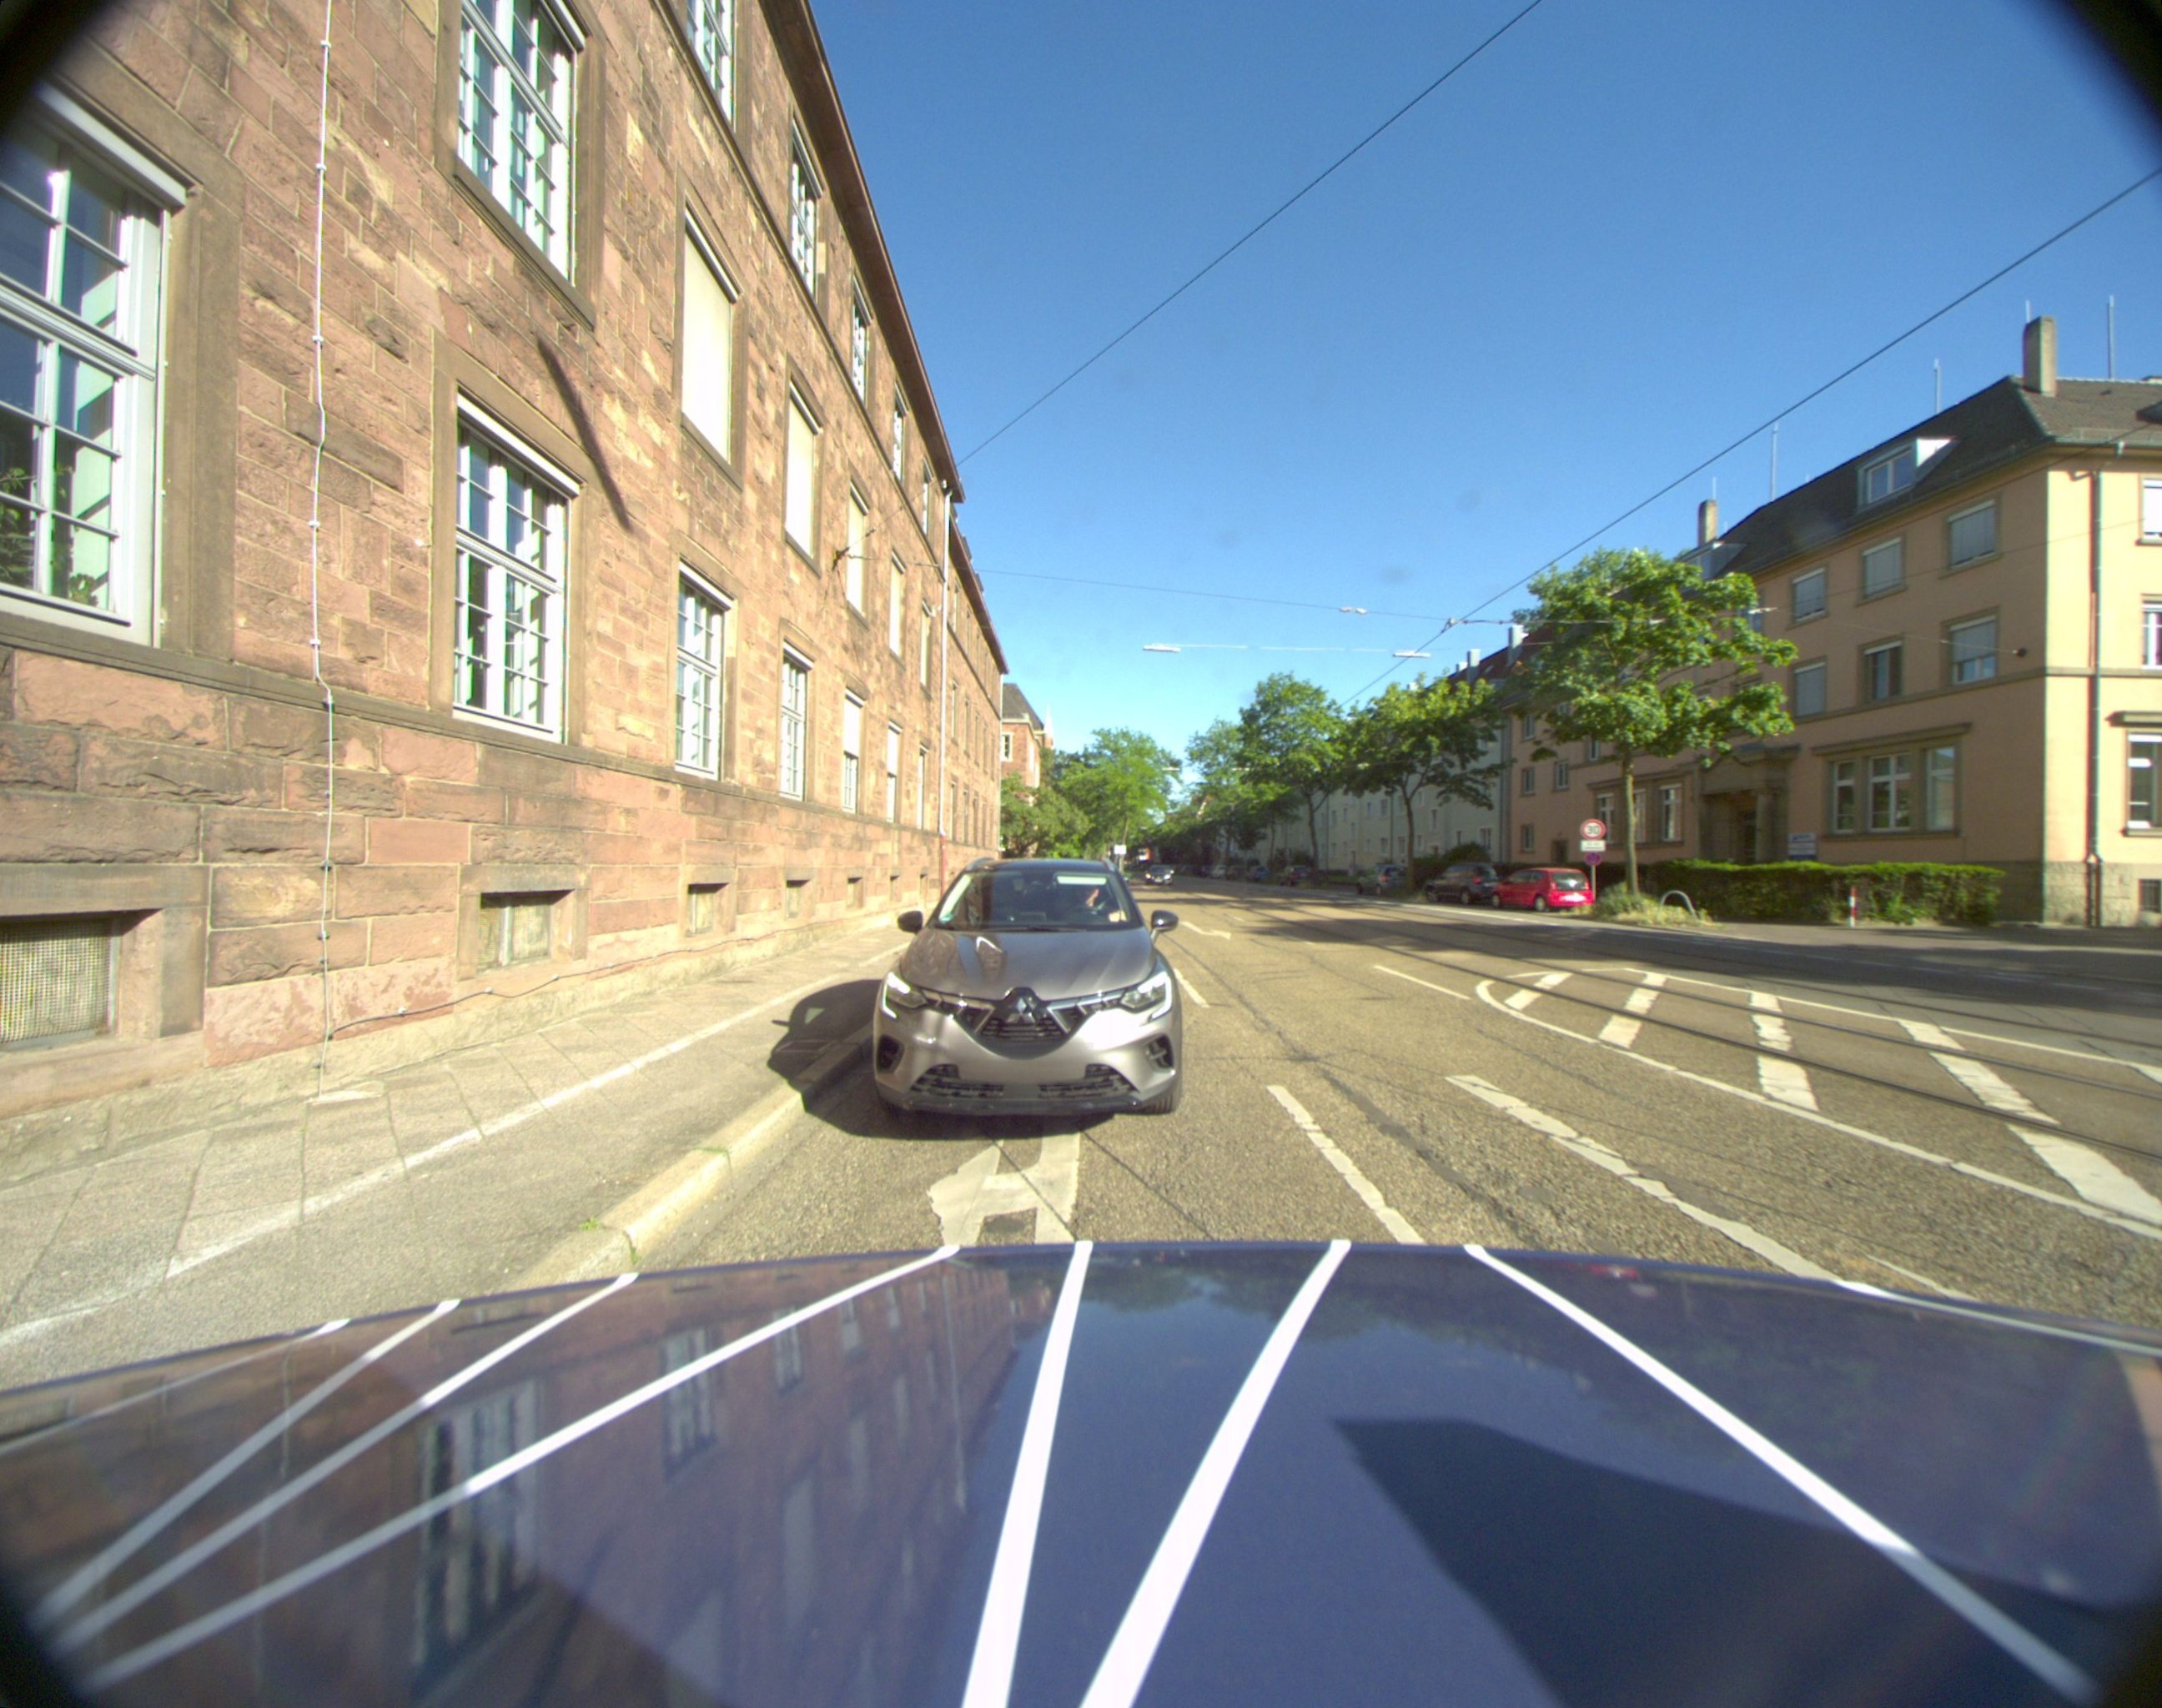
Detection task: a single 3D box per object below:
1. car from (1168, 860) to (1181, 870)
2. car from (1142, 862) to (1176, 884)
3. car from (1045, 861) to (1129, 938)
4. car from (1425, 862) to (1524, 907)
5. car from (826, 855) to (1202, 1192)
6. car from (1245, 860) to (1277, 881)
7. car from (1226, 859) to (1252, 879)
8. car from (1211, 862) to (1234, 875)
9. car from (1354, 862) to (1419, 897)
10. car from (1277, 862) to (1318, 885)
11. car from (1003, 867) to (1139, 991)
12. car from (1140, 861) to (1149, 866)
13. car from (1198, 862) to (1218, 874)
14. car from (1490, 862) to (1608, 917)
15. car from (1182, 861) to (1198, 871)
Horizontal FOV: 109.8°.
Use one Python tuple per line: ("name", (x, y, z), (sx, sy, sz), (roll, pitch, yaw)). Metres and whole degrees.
("car", (16.594, 1.884, 135.247), (1.816, 1.768, 3.630), (1, 0, -2))
("car", (5.611, 1.343, 55.115), (1.912, 1.510, 4.000), (1, 0, -1))
("car", (0.072, 1.009, 18.500), (1.796, 1.638, 4.083), (-1, 0, -2))
("car", (15.650, 1.155, 30.470), (1.816, 1.648, 3.819), (1, 0, -3))
("car", (-0.365, 0.825, 5.562), (1.796, 1.595, 3.799), (-1, 0, -2))
("car", (15.974, 1.443, 67.503), (1.816, 1.814, 3.795), (1, 0, -2))
("car", (15.904, 1.497, 76.580), (1.816, 1.929, 3.630), (1, 0, -2))
("car", (16.033, 1.631, 85.939), (1.816, 1.411, 3.630), (1, 0, -2))
("car", (15.733, 1.283, 39.366), (1.816, 1.648, 3.877), (1, 0, 1))
("car", (15.792, 1.404, 55.610), (1.816, 1.589, 3.630), (1, 0, -2))
("car", (-0.181, 1.029, 12.053), (1.796, 1.595, 3.799), (-1, 0, -2))
("car", (16.075, 2.403, 191.347), (1.816, 1.411, 3.630), (1, 0, -2))
("car", (15.849, 1.716, 94.866), (1.816, 1.411, 3.630), (1, 0, -2))
("car", (15.854, 1.154, 25.948), (1.816, 1.696, 3.374), (1, 0, -3))
("car", (16.042, 1.726, 111.818), (1.816, 1.411, 3.630), (1, 0, -2))
